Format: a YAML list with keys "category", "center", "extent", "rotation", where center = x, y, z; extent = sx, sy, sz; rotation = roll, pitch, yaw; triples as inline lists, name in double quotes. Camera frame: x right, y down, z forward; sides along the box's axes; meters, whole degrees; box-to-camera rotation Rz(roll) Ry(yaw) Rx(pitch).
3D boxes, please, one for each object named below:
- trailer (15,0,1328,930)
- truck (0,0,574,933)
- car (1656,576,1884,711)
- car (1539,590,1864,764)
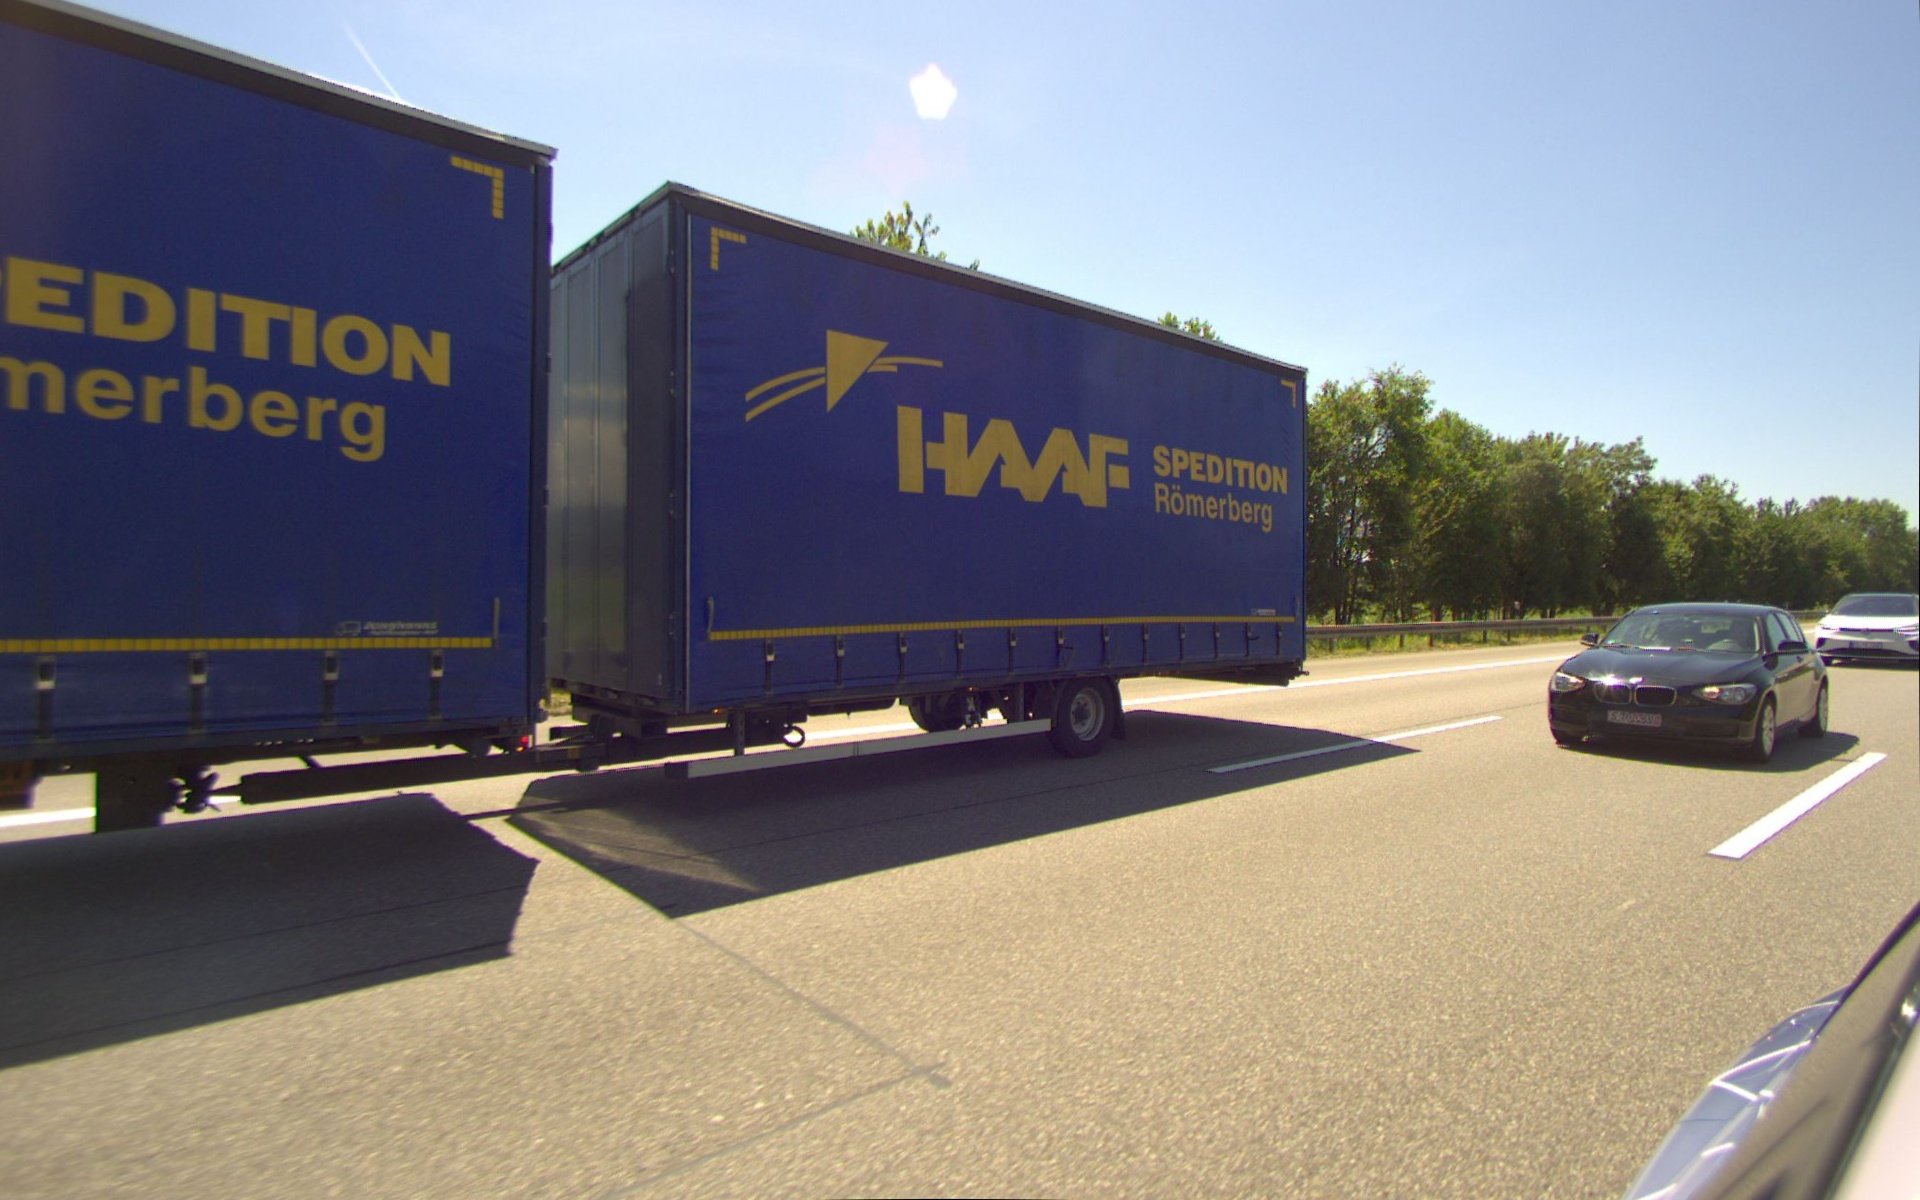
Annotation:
- category: "trailer"
  center: [-0.846, -0.811, 8.783]
  extent: [10.618, 4.257, 2.795]
  rotation: [0, 1, -41]
- category: "truck"
  center: [-7.110, -0.756, 3.326]
  extent: [10.618, 4.257, 2.795]
  rotation: [0, 1, -41]
- category: "car"
  center: [11.732, 0.514, 14.573]
  extent: [3.930, 1.664, 1.885]
  rotation: [0, 1, -41]
- category: "car"
  center: [7.937, 0.630, 10.669]
  extent: [4.419, 1.435, 1.839]
  rotation: [0, 1, -41]
